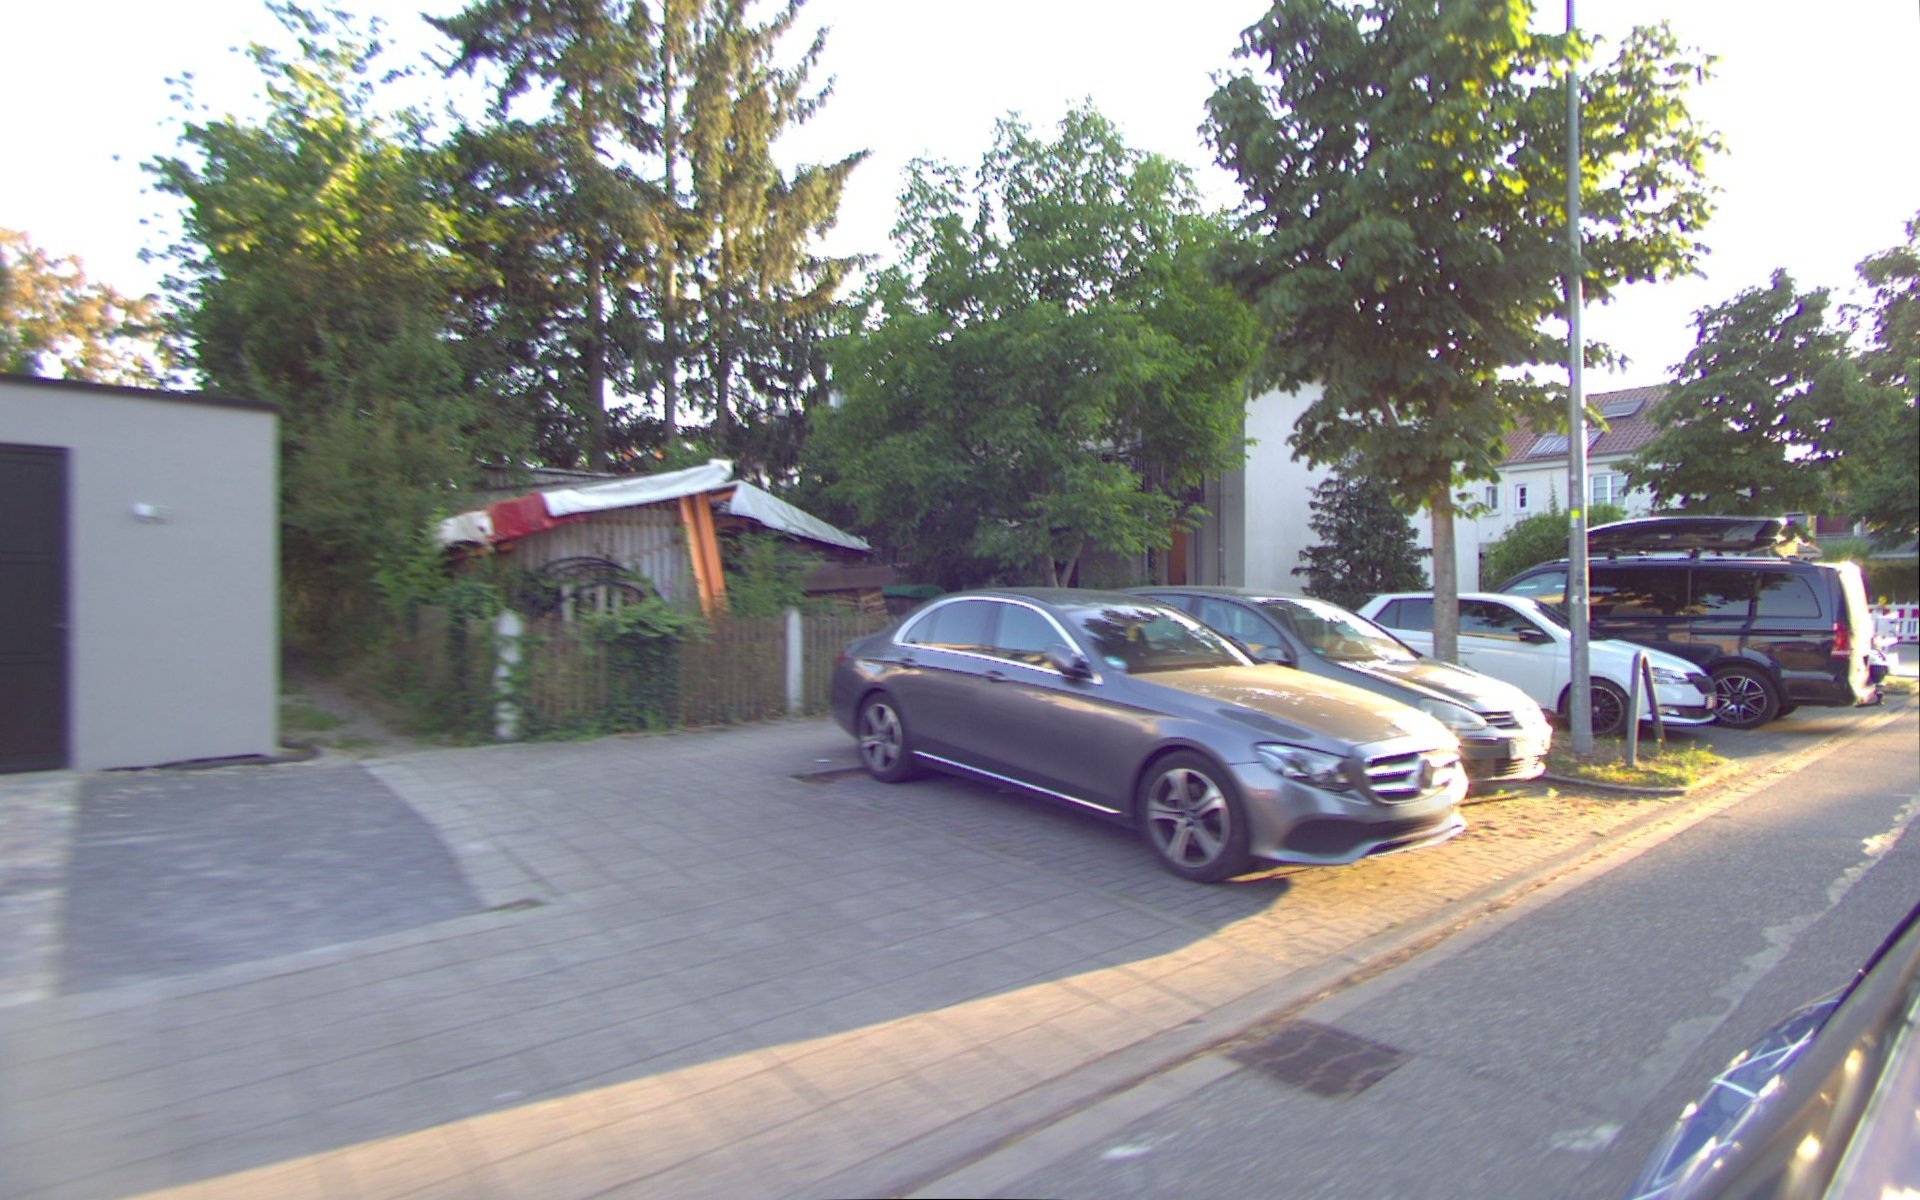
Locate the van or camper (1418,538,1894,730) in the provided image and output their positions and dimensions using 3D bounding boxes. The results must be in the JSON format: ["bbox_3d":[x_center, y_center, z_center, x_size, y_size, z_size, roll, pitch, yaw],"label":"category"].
[{"bbox_3d":[8.600,0.328,12.858,2.059,1.978,4.653,-1,1,-42],"label":"van or camper"}]

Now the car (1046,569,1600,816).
[{"bbox_3d":[2.712,0.521,8.423,1.737,1.520,4.068,0,2,-36],"label":"car"}]

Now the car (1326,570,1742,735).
[{"bbox_3d":[6.364,0.471,11.559,1.600,1.563,3.839,-1,1,-40],"label":"car"}]

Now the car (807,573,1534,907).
[{"bbox_3d":[0.932,0.554,6.837,1.738,1.415,4.831,0,2,-38],"label":"car"}]

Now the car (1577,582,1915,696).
[{"bbox_3d":[12.418,0.522,16.204,1.761,1.580,3.995,-1,1,-39],"label":"car"}]
